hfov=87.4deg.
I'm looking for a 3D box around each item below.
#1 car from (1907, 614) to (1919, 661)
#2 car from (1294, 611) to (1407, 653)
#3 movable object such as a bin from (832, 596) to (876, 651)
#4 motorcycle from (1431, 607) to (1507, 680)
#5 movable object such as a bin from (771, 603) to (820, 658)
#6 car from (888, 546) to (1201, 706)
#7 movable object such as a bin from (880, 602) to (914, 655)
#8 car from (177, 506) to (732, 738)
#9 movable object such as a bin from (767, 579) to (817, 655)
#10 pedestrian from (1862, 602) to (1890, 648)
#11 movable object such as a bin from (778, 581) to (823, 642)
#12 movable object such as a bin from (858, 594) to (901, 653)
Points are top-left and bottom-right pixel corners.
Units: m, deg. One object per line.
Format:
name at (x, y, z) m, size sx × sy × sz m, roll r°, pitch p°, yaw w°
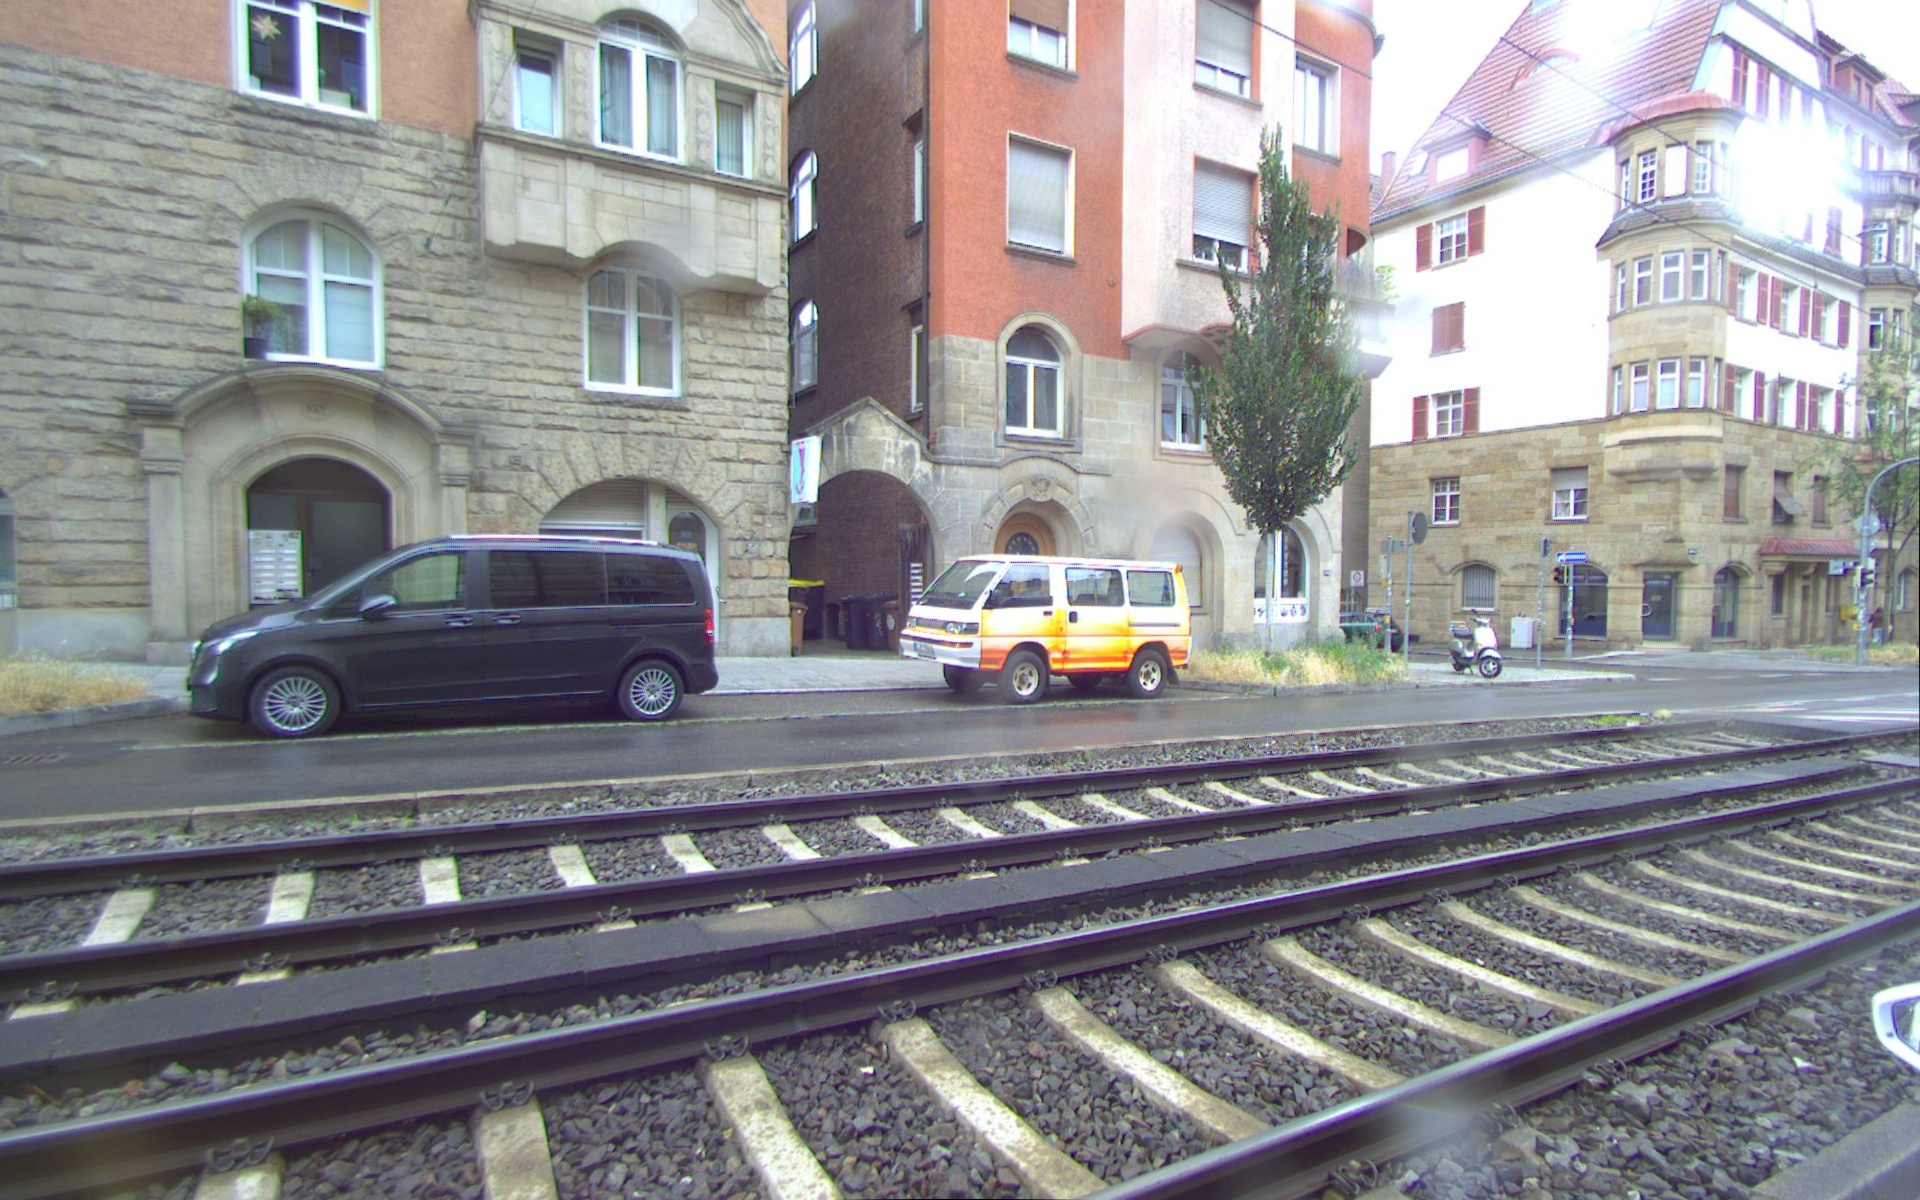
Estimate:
car at (34.173, 1.336, 34.350) m, size 3.994 × 1.573 × 1.742 m, roll 2°, pitch 0°, yaw -34°
car at (14.466, 1.168, 37.340) m, size 1.683 × 1.423 × 3.618 m, roll 2°, pitch 0°, yaw -34°
movable object such as a bin at (-2.079, 0.451, 19.682) m, size 0.607 × 1.052 × 0.793 m, roll 1°, pitch -1°, yaw -27°
motorcycle at (10.111, 0.833, 19.997) m, size 0.612 × 1.384 × 1.596 m, roll 2°, pitch 0°, yaw -3°
movable object such as a bin at (-2.887, 0.528, 17.587) m, size 0.627 × 0.918 × 0.793 m, roll 1°, pitch 1°, yaw -27°
car at (1.280, 0.378, 14.436) m, size 4.295 × 2.001 × 1.721 m, roll 2°, pitch 0°, yaw -32°
movable object such as a bin at (-1.168, 0.520, 18.628) m, size 0.442 × 0.957 × 0.557 m, roll 1°, pitch -1°, yaw -27°
car at (-5.046, 0.252, 10.591) m, size 4.769 × 1.968 × 1.984 m, roll 2°, pitch 0°, yaw -30°
movable object such as a bin at (-3.102, 0.307, 18.460) m, size 0.648 × 1.360 × 0.903 m, roll 1°, pitch 1°, yaw -27°
pedestrian at (34.144, 0.926, 37.440) m, size 0.697 × 1.695 × 0.626 m, roll 2°, pitch 0°, yaw -39°
movable object such as a bin at (-3.606, 0.246, 22.653) m, size 0.676 × 1.324 × 1.154 m, roll 1°, pitch 1°, yaw -26°
movable object such as a bin at (-1.541, 0.446, 19.136) m, size 0.607 × 1.090 × 0.679 m, roll 1°, pitch -1°, yaw -27°
